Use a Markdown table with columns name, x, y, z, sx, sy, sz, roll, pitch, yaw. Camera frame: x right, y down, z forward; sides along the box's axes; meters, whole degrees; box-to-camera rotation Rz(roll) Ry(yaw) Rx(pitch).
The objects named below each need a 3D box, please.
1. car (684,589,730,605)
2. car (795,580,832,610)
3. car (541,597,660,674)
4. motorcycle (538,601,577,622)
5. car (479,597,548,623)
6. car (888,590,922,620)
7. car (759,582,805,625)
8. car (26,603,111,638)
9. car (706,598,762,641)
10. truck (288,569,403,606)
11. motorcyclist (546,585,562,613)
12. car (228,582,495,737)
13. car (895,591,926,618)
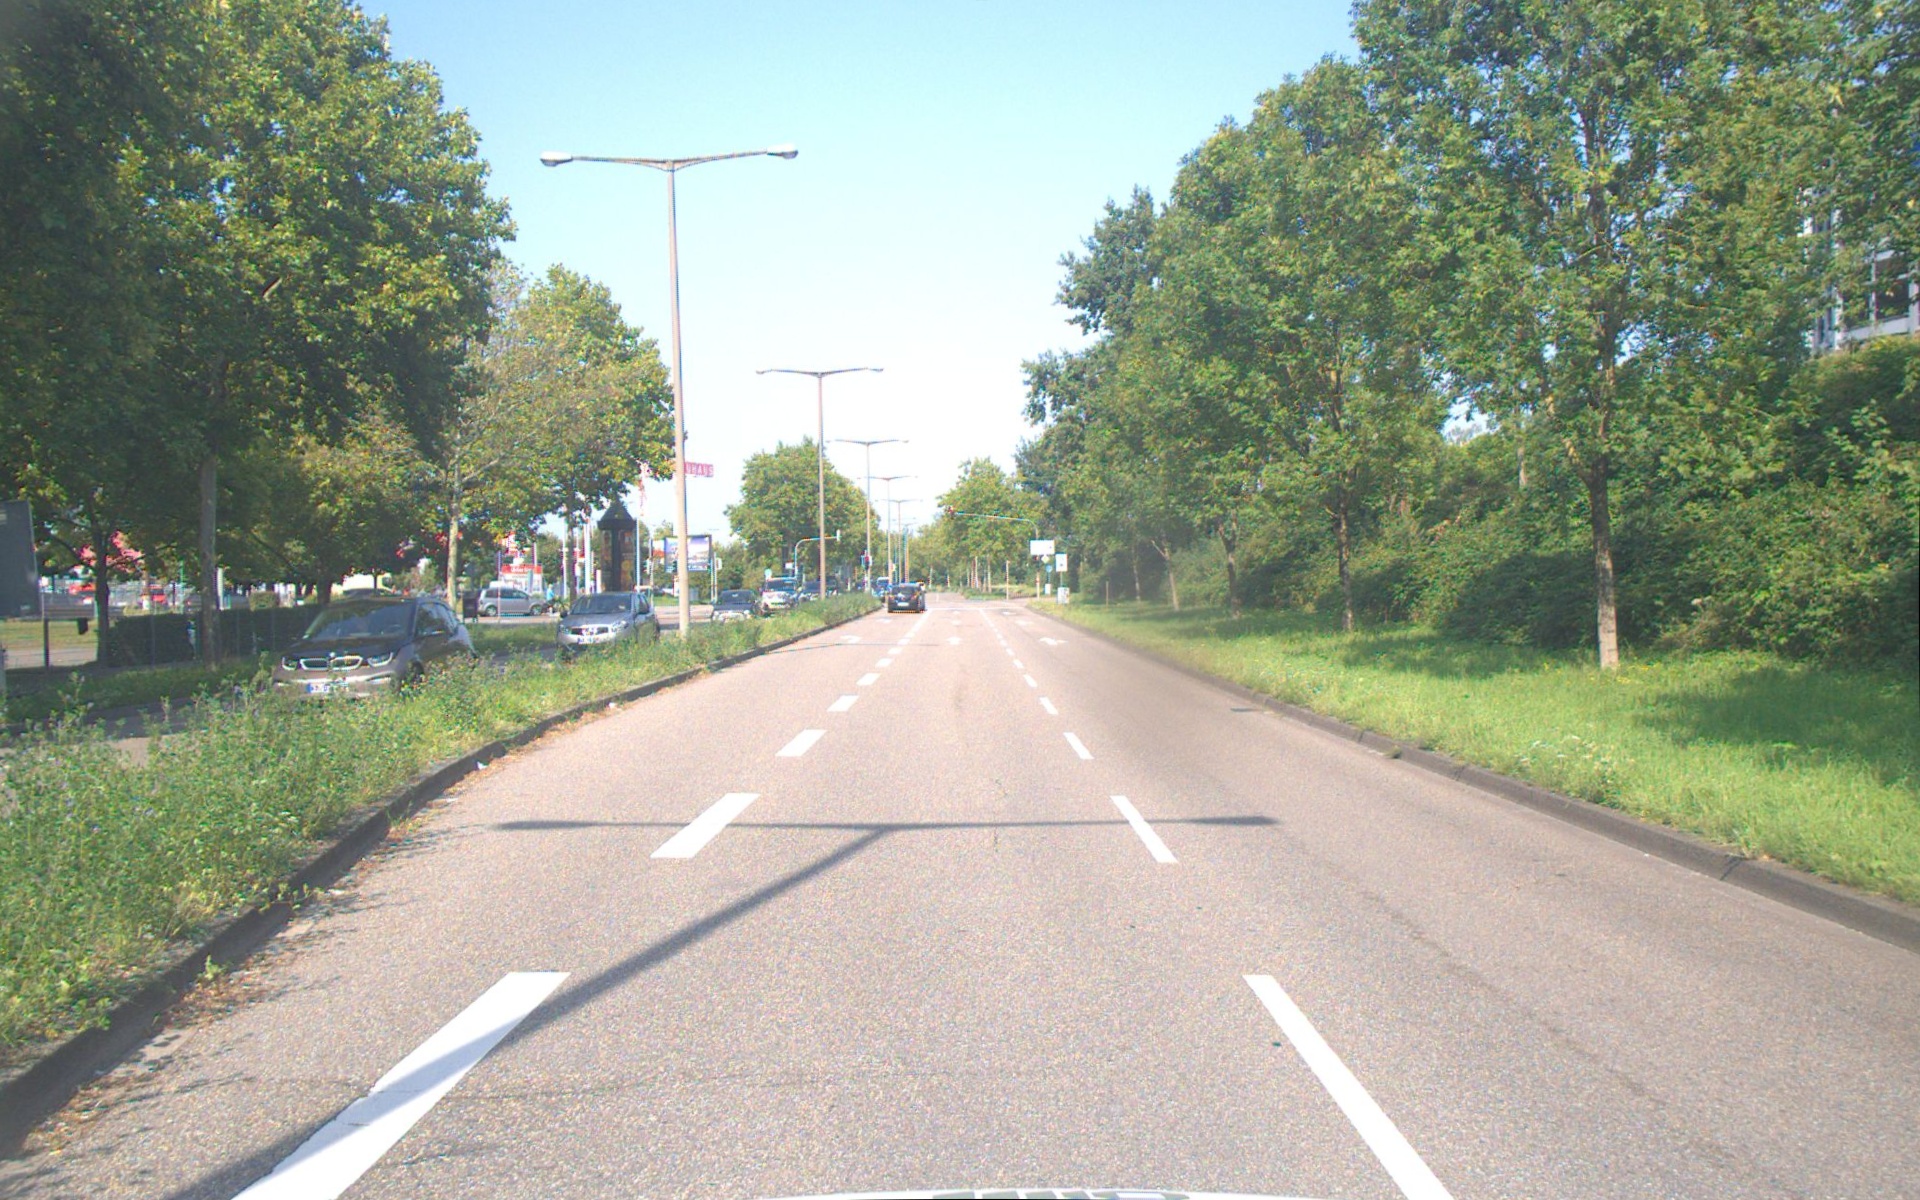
| name | x | y | z | sx | sy | sz | roll | pitch | yaw |
| --- | --- | --- | --- | --- | --- | --- | --- | --- | --- |
| car | -20.140 | -0.240 | 131.957 | 3.303 | 1.156 | 1.494 | -2 | 0 | 8 |
| car | -9.522 | -0.308 | 107.732 | 1.954 | 1.735 | 4.503 | -5 | 0 | -2 |
| car | -8.277 | 0.785 | 38.386 | 1.841 | 1.621 | 4.108 | -1 | 0 | 0 |
| motorcycle | -22.987 | 0.641 | 94.534 | 2.053 | 1.156 | 0.669 | -1 | 0 | -36 |
| car | -25.871 | 0.579 | 95.864 | 3.662 | 1.468 | 1.448 | 0 | 0 | -37 |
| car | -2.946 | 0.269 | 88.528 | 1.657 | 1.512 | 4.000 | -1 | 0 | 0 |
| car | -9.023 | 0.161 | 84.103 | 1.892 | 2.063 | 4.566 | -1 | 0 | -1 |
| car | -43.672 | 0.980 | 81.065 | 3.454 | 1.608 | 1.704 | -2 | 1 | -37 |
| car | -8.211 | 0.697 | 60.310 | 1.642 | 1.512 | 3.492 | 0 | 0 | -1 |
| truck | -54.047 | -1.097 | 145.621 | 8.916 | 3.009 | 3.469 | -2 | 0 | -37 |
| motorcyclist | -23.164 | -0.040 | 94.402 | 0.676 | 1.599 | 0.675 | 0 | 0 | -36 |
| car | -7.881 | 0.715 | 22.266 | 1.953 | 1.790 | 4.307 | -3 | 0 | 0 |
| car | -2.804 | 0.249 | 95.054 | 1.657 | 1.512 | 4.000 | -1 | 0 | 0 |
